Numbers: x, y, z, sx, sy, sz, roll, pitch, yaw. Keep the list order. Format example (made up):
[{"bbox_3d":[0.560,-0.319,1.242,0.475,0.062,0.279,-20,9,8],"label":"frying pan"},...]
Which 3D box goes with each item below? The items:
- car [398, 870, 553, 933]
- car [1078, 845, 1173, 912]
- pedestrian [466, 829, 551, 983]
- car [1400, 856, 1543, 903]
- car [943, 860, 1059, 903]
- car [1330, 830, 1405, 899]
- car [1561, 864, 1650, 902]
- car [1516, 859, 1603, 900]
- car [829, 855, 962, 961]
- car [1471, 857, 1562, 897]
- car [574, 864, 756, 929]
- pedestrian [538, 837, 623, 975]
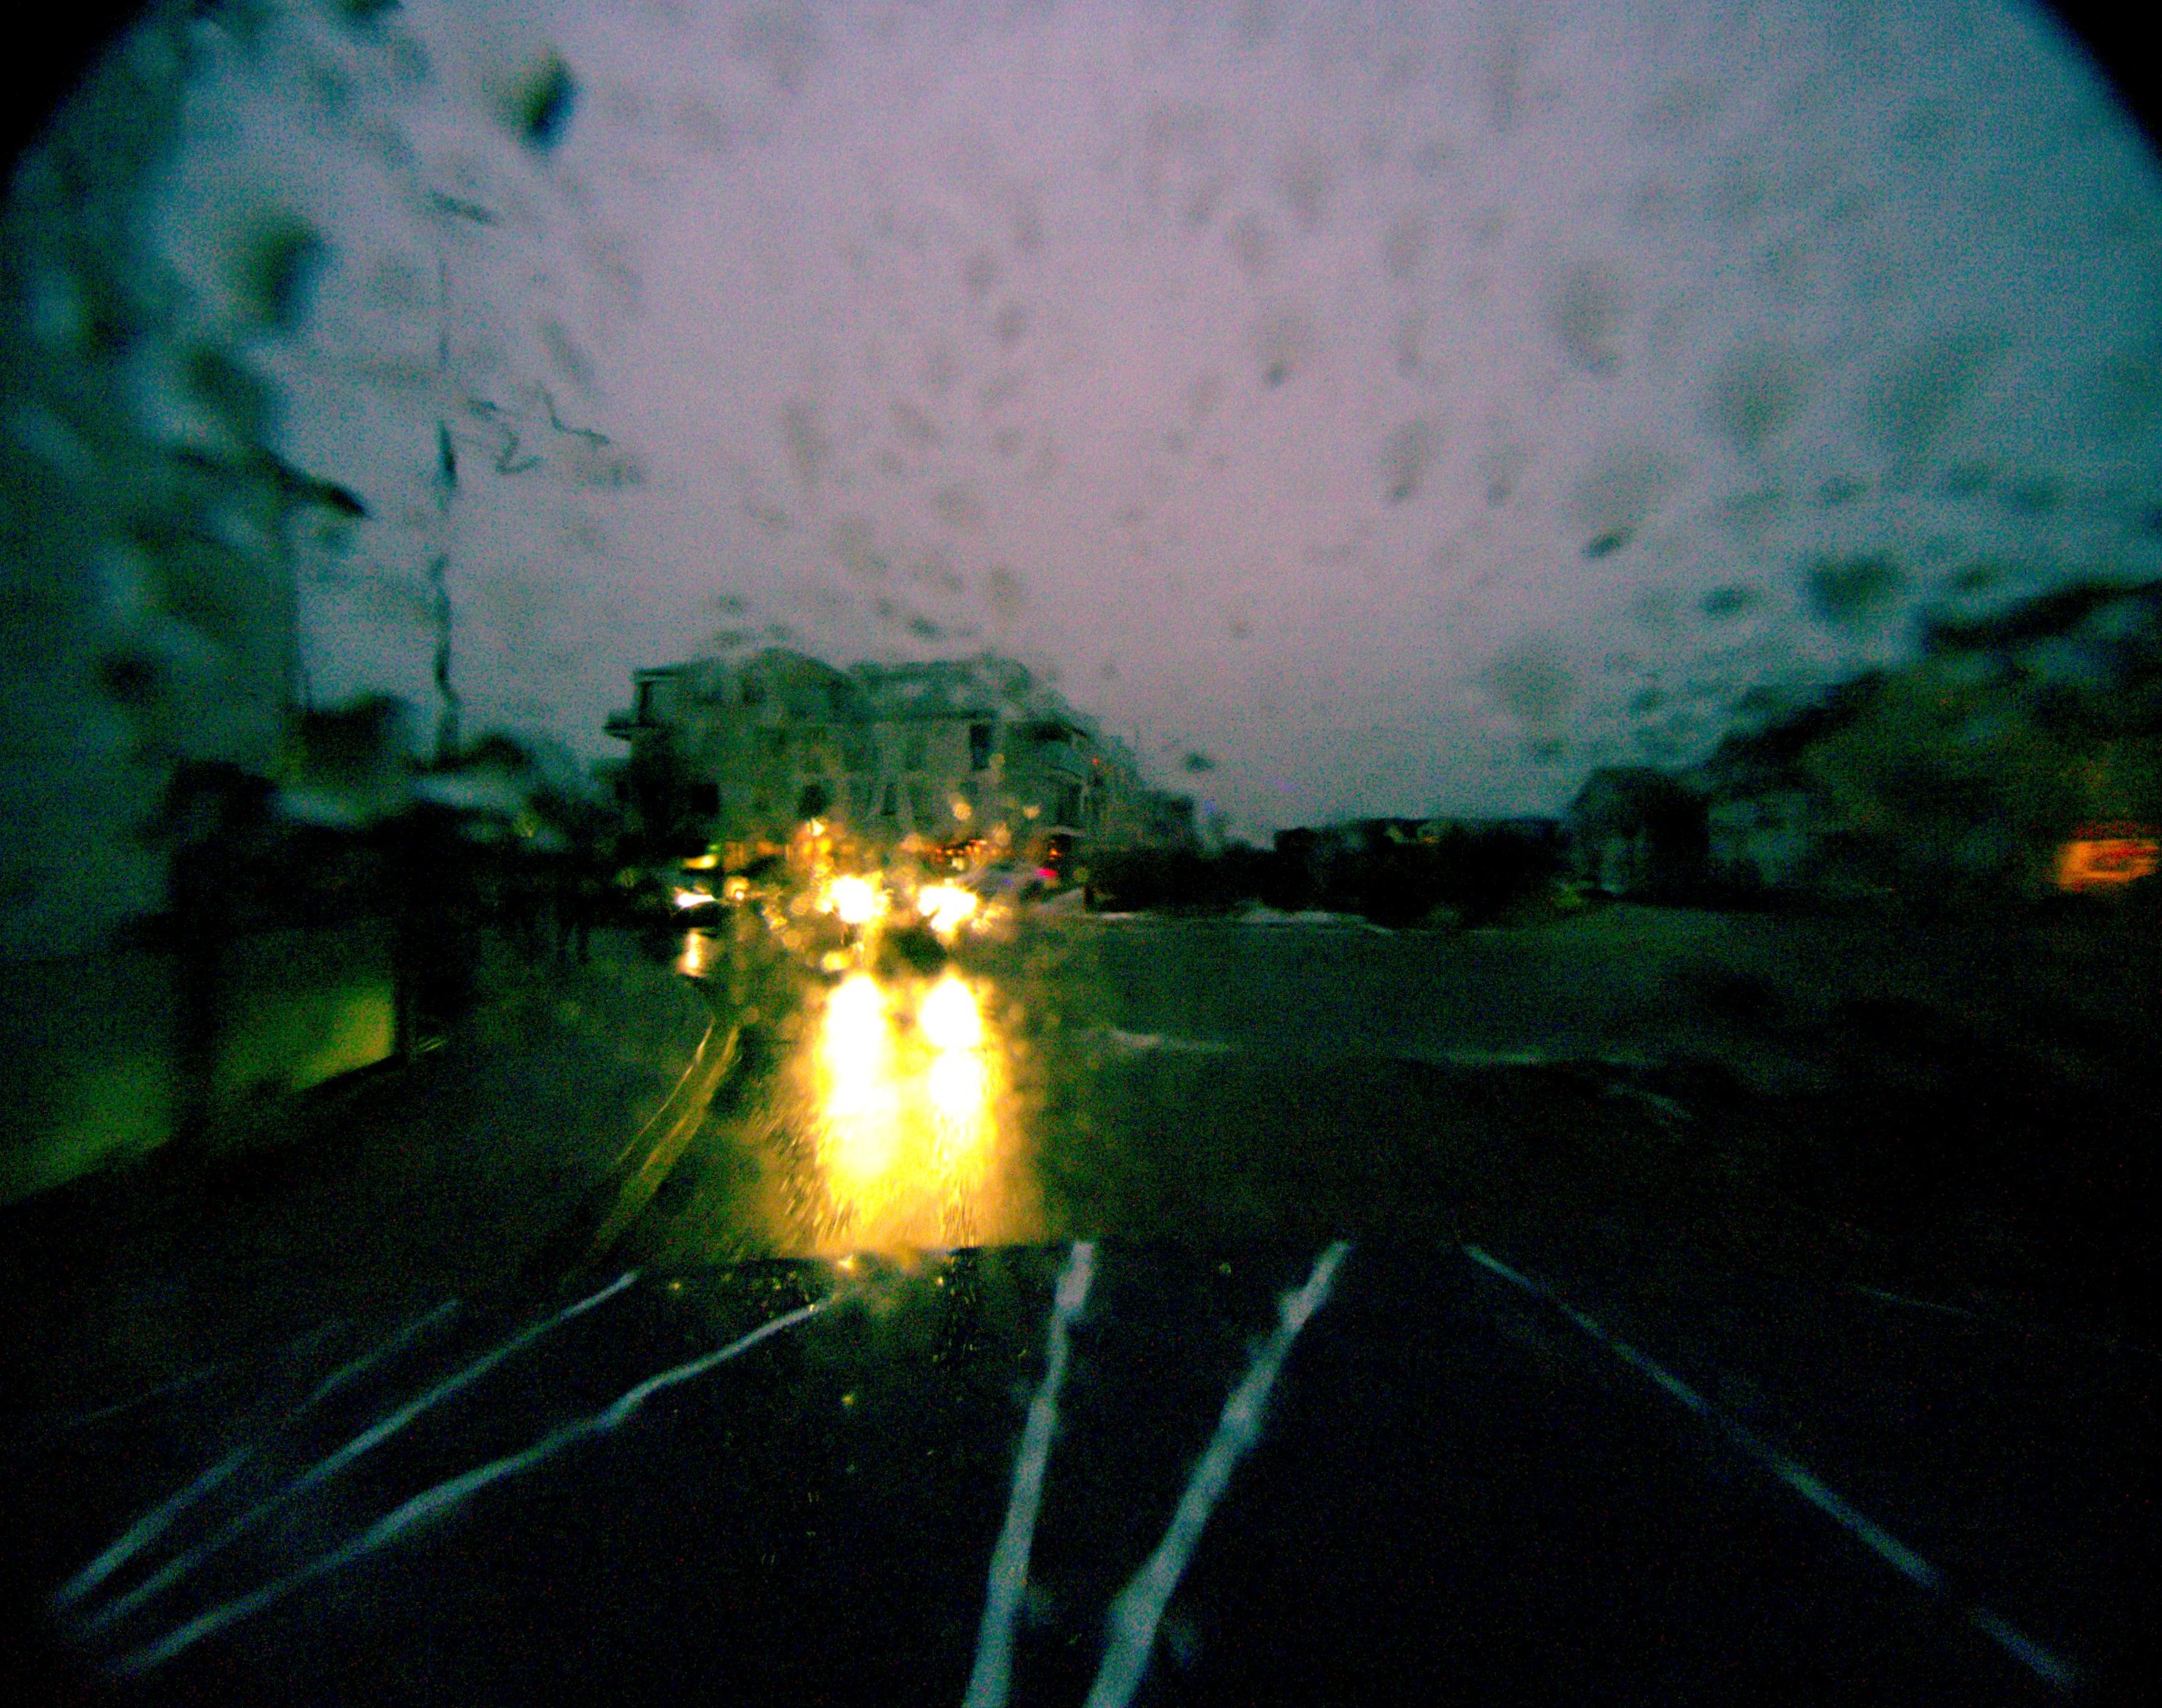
[{"bbox_3d":[-15.989,1.199,20.063,3.654,1.447,1.759,-1,2,27],"label":"car"},{"bbox_3d":[1.142,0.546,19.619,2.171,1.469,4.000,-1,1,3],"label":"car"},{"bbox_3d":[-7.307,0.623,9.699,0.711,1.856,0.790,-3,3,-43],"label":"pedestrian"},{"bbox_3d":[14.708,0.888,28.874,1.873,1.590,4.525,-1,1,-33],"label":"car"},{"bbox_3d":[-3.104,1.028,29.280,4.276,1.436,1.559,-2,2,-13],"label":"car"},{"bbox_3d":[9.234,0.251,24.534,2.055,1.976,4.543,-1,2,21],"label":"car"},{"bbox_3d":[29.399,1.569,42.737,1.936,1.871,3.868,-2,2,-10],"label":"car"},{"bbox_3d":[26.715,1.375,42.582,1.926,2.002,3.968,-2,2,-10],"label":"car"},{"bbox_3d":[-3.263,0.827,13.675,1.960,1.576,4.105,-1,0,-12],"label":"car"},{"bbox_3d":[24.068,1.239,42.147,1.974,1.984,3.992,-2,2,-23],"label":"car"},{"bbox_3d":[-10.500,1.050,19.231,4.011,1.471,1.766,-1,1,20],"label":"car"},{"bbox_3d":[-6.751,0.664,10.250,0.770,1.752,0.790,-3,3,-43],"label":"pedestrian"}]
